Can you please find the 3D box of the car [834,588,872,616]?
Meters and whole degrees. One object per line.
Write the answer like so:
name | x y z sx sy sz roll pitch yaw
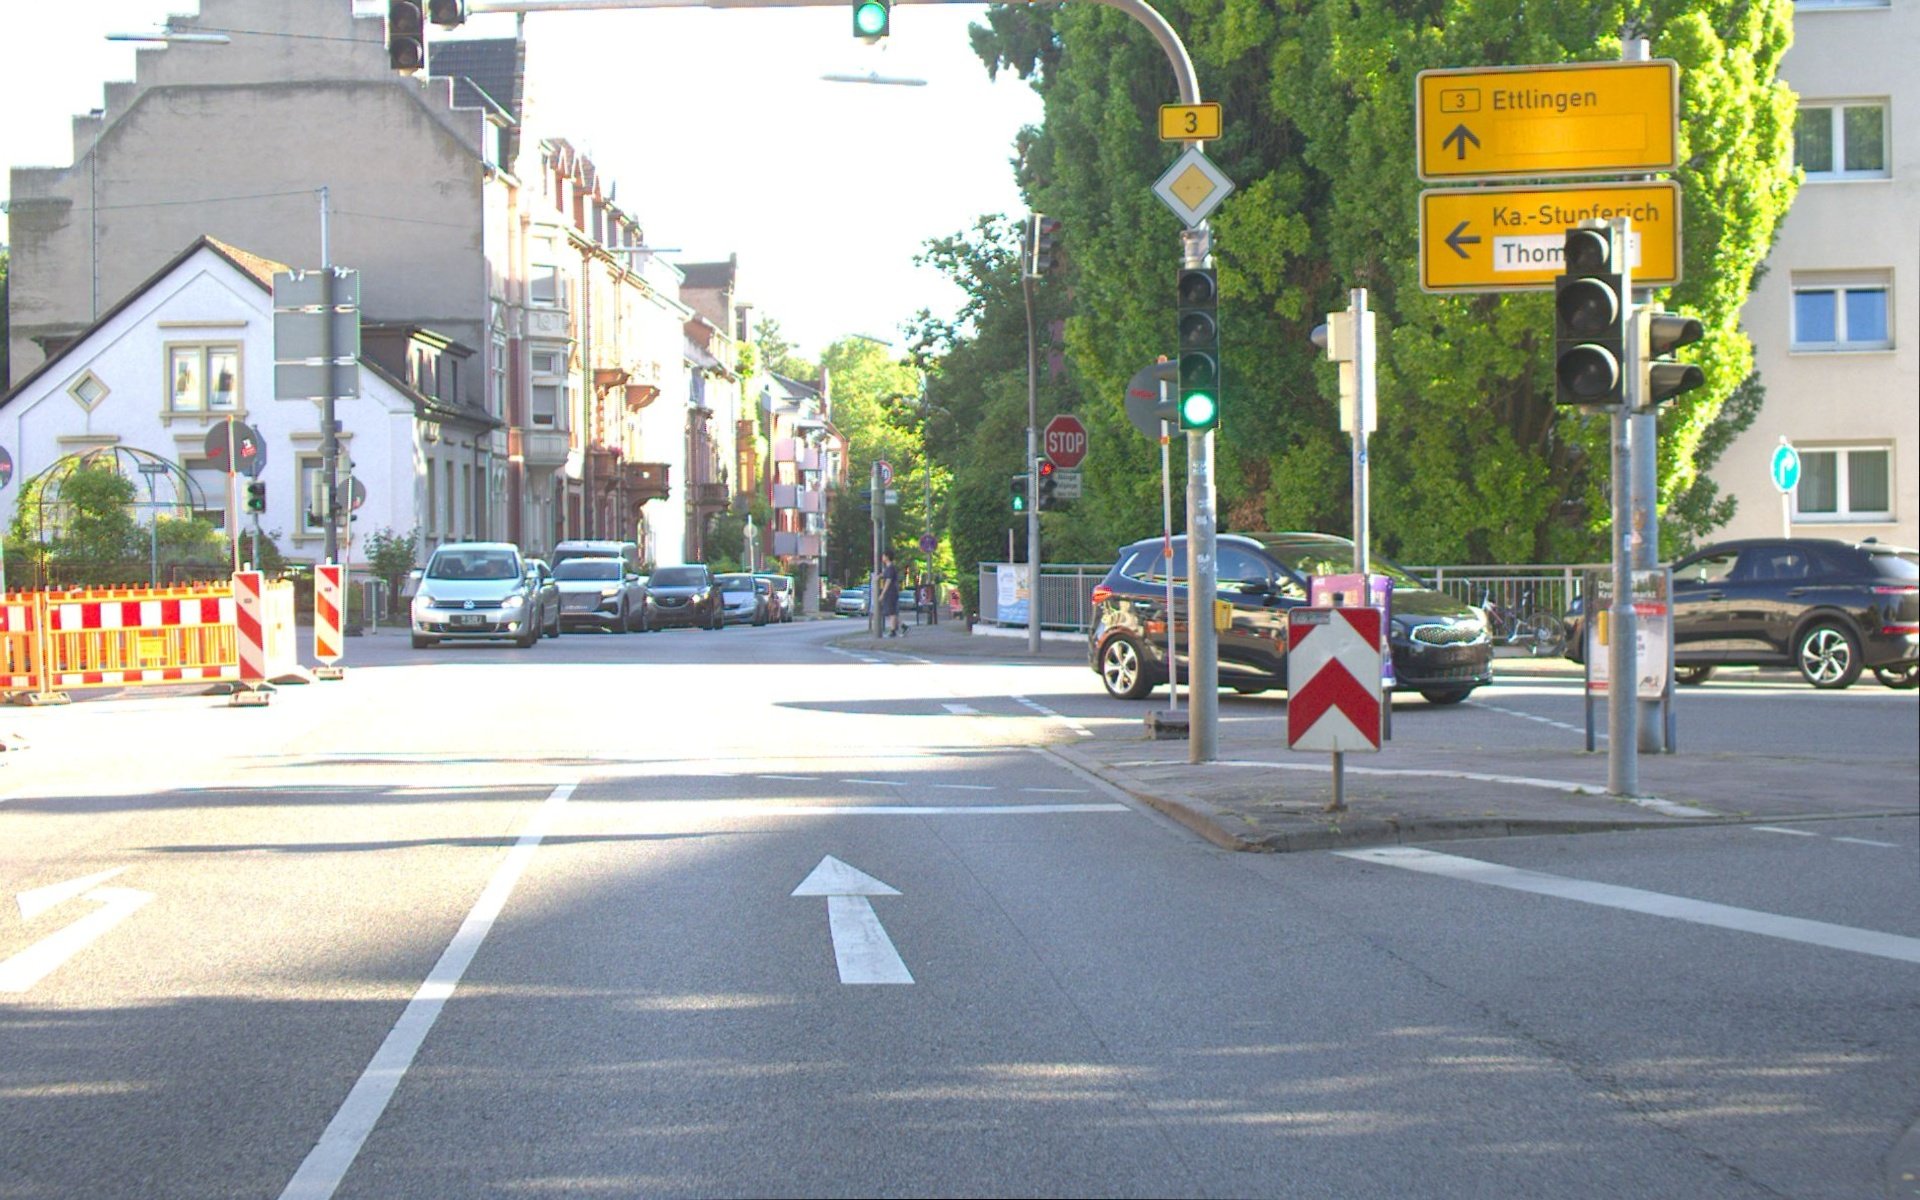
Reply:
car | -6.337 0.125 204.498 1.993 1.486 4.470 -1 1 1

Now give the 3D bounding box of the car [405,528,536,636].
car | -7.424 -0.304 51.908 1.775 1.537 4.001 0 1 -11

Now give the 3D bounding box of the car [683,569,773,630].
car | -6.744 -0.042 100.185 1.954 1.643 4.283 1 1 5

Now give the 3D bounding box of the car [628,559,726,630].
car | -7.061 -0.158 86.109 1.953 1.643 4.283 1 1 2

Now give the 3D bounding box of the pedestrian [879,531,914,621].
pedestrian | -1.208 -0.467 65.662 0.602 1.687 0.612 -1 1 1

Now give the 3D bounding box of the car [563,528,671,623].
car | -9.103 -0.662 91.831 2.068 2.452 6.014 1 1 2

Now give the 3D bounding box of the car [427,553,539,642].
car | -8.443 -0.068 61.095 1.775 1.475 4.097 1 1 -5

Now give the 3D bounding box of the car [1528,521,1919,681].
car | 8.838 0.013 38.127 4.660 1.664 1.995 1 -1 43

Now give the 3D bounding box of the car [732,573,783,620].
car | -7.751 -0.141 131.925 1.702 1.732 3.857 1 1 0

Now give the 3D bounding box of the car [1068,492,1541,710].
car | 3.162 -0.064 32.256 1.994 1.809 4.251 -5 4 -37

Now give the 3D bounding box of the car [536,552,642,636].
car | -7.804 -0.154 72.587 1.775 1.643 4.535 1 1 -1
